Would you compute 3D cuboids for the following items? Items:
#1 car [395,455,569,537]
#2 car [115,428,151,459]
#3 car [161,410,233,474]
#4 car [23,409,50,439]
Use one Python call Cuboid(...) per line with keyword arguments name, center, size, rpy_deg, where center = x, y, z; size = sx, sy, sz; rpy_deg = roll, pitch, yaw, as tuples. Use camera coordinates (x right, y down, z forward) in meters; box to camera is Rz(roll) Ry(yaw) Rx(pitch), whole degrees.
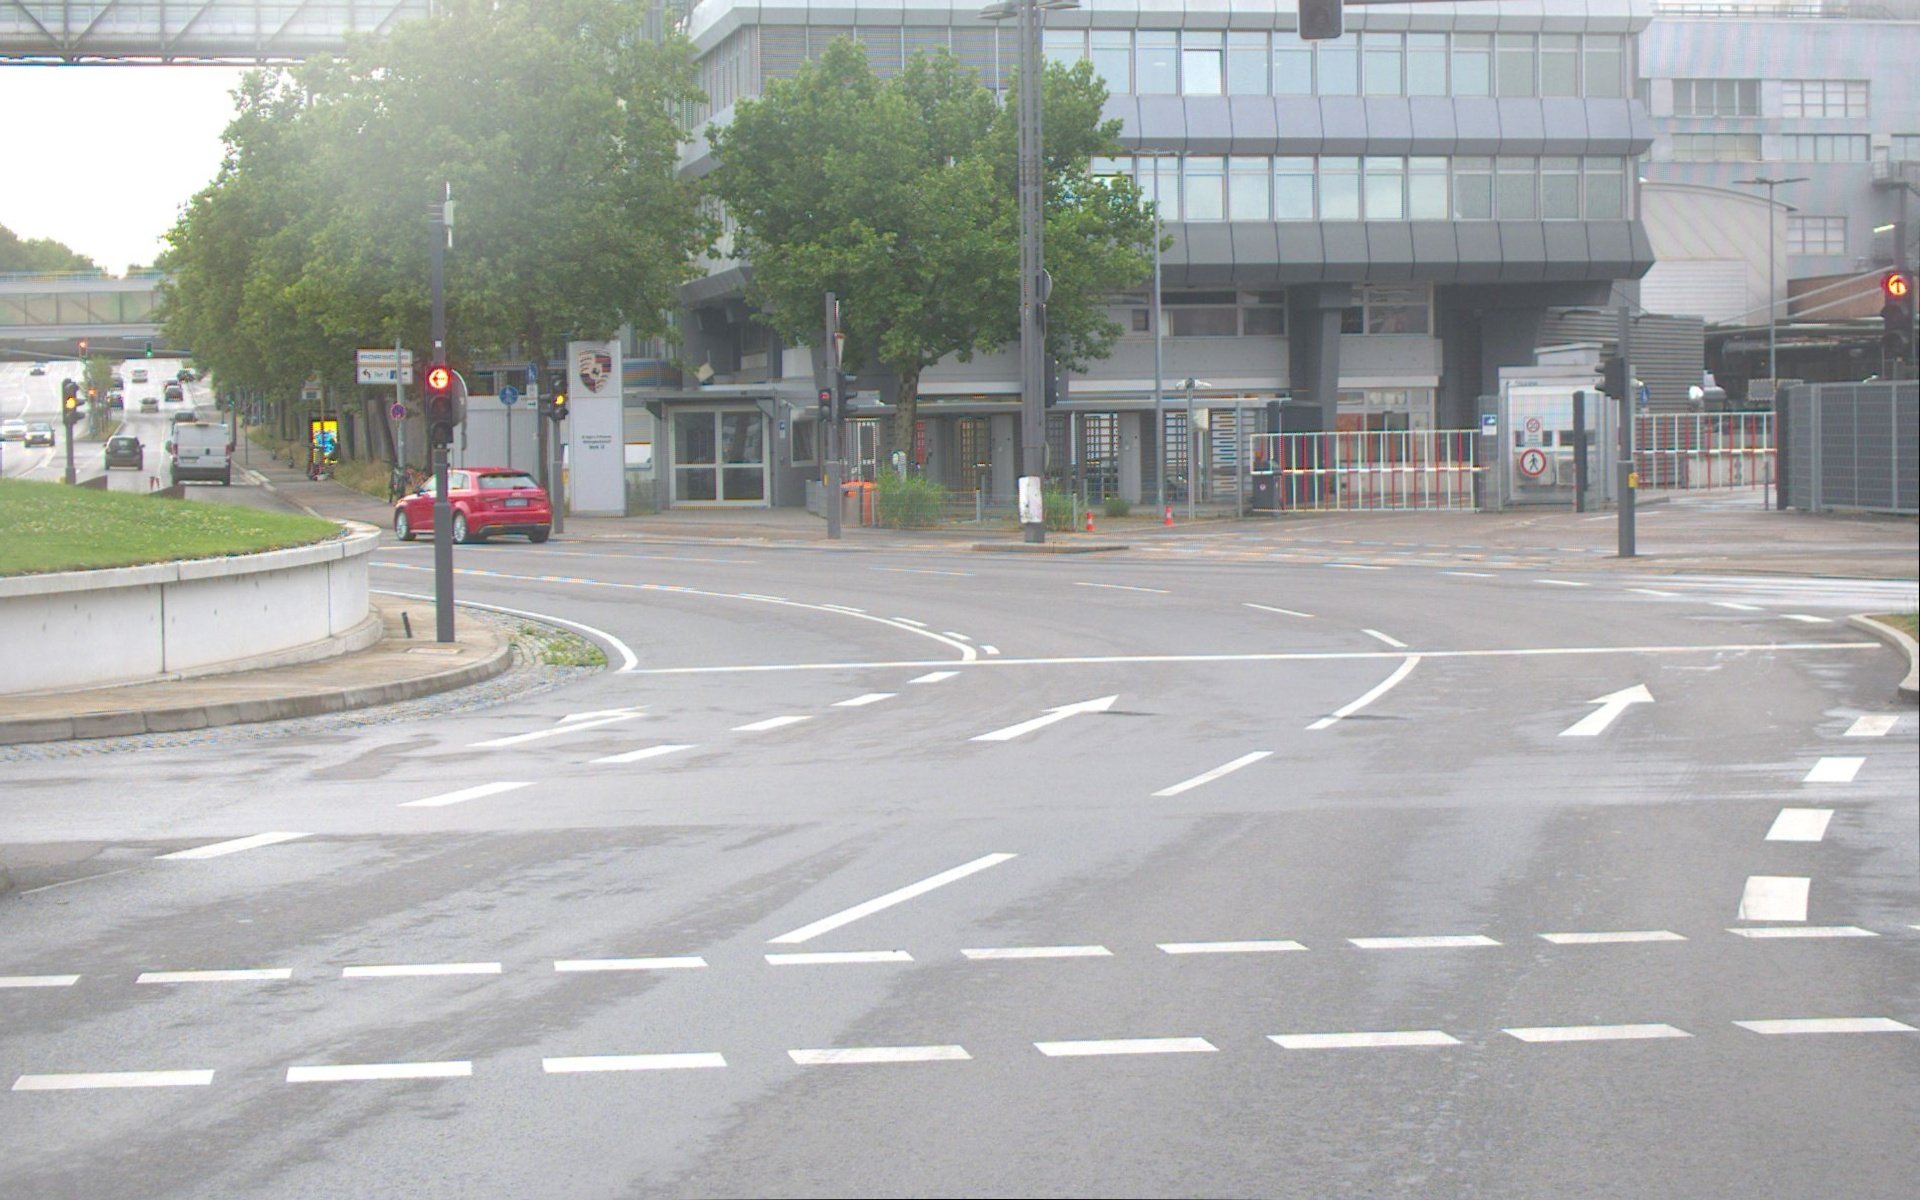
Cuboid(name="car", center=(-9.038, -1.945, 64.815), size=(1.773, 1.459, 3.732), rpy_deg=(-1, 1, -34))
Cuboid(name="car", center=(-37.413, -7.088, 155.538), size=(1.556, 1.284, 3.415), rpy_deg=(-1, 1, -14))
Cuboid(name="car", center=(-27.498, -5.671, 123.838), size=(2.232, 2.100, 4.956), rpy_deg=(-1, 0, -16))
Cuboid(name="car", center=(-58.095, -11.088, 216.274), size=(1.627, 1.810, 3.734), rpy_deg=(0, 2, -14))
